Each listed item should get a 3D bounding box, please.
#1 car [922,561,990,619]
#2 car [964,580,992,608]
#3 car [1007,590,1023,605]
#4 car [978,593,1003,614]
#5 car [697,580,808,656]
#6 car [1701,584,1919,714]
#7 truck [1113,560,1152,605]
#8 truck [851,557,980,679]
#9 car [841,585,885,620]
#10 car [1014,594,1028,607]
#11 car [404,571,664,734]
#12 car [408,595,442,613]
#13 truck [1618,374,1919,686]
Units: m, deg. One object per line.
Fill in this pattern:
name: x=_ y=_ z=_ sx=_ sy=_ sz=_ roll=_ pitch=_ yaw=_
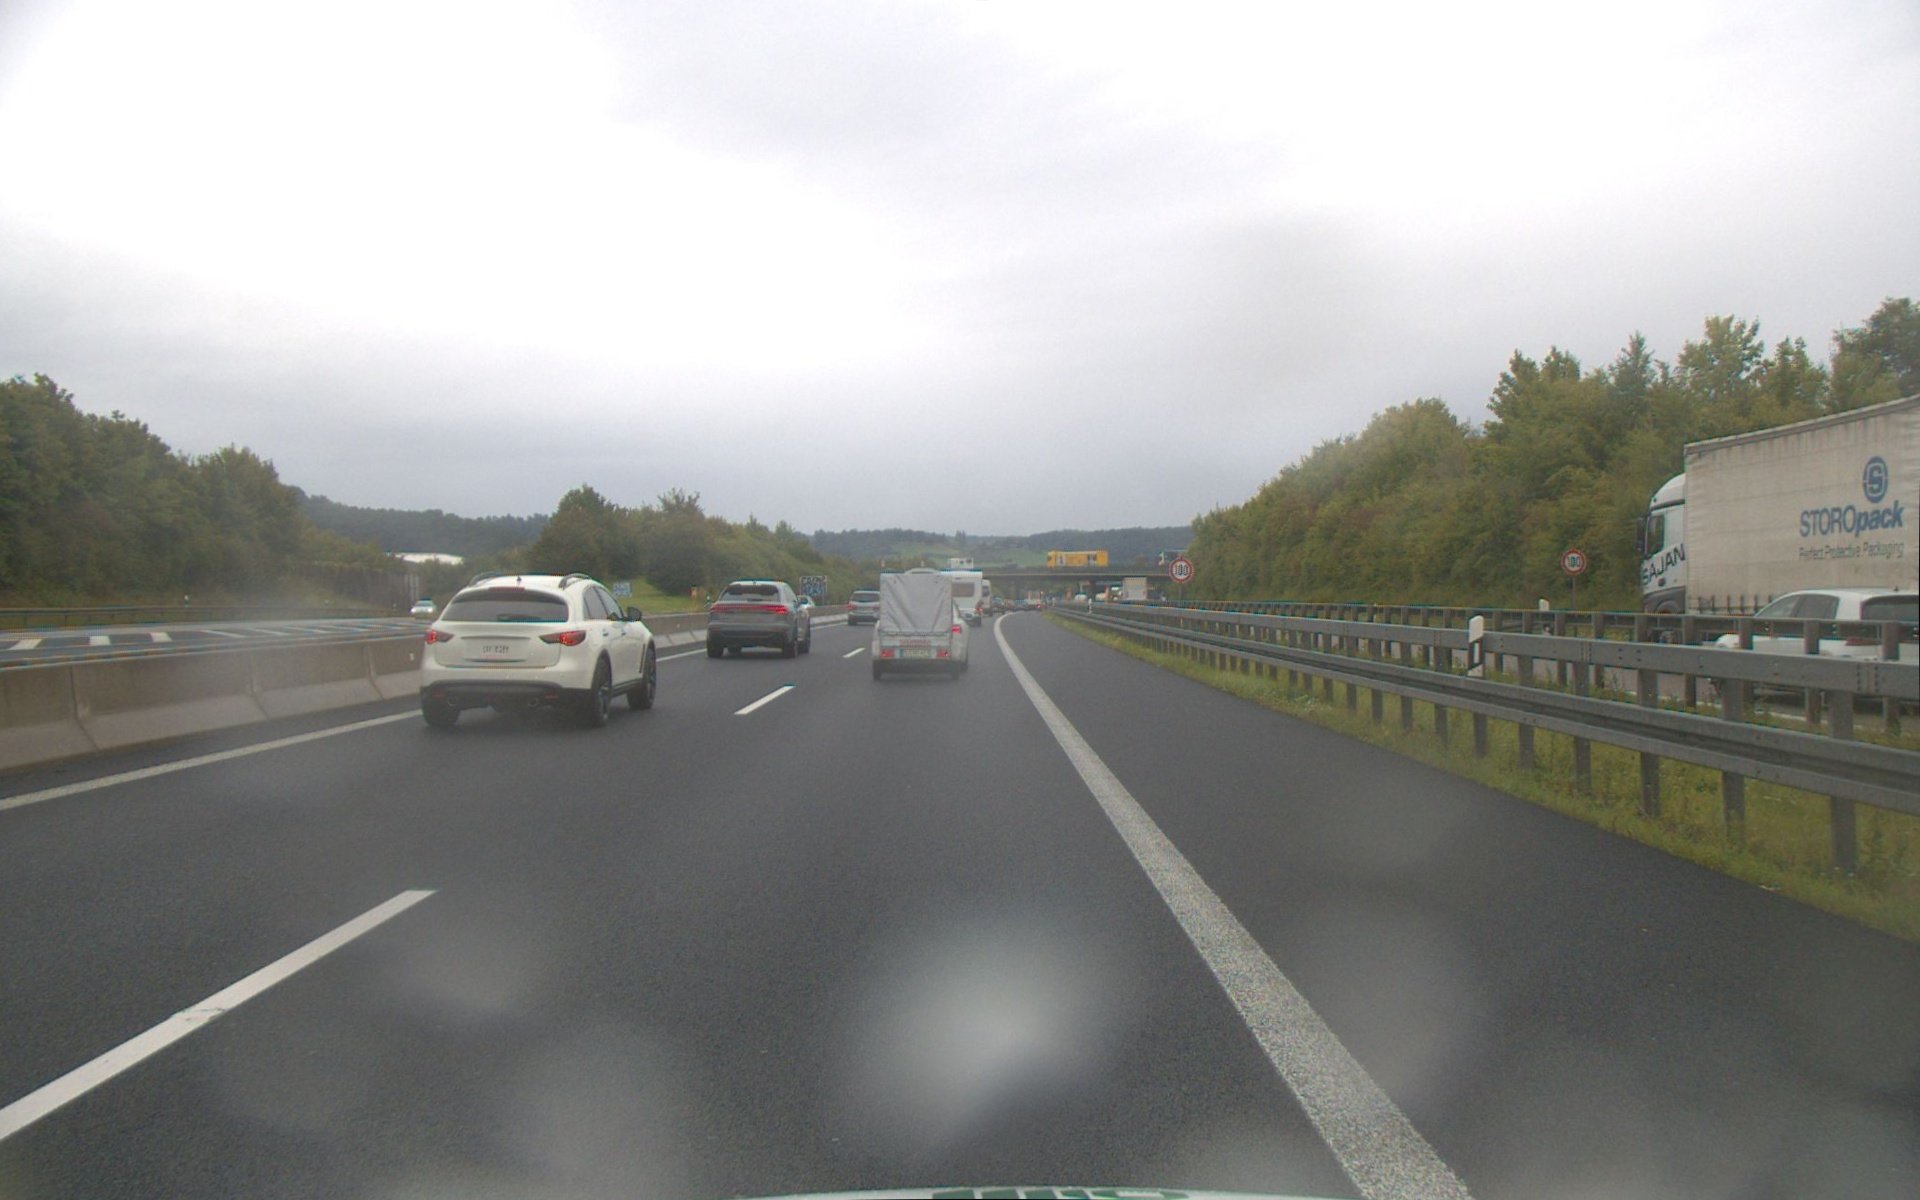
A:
car: x=-0.121 y=-0.489 z=79.955 sx=2.953 sy=2.662 sz=6.077 roll=0 pitch=0 yaw=3
car: x=1.334 y=-0.441 z=123.562 sx=1.953 sy=2.071 sz=4.150 roll=1 pitch=0 yaw=-1
car: x=6.710 y=-0.324 z=201.419 sx=1.952 sy=1.780 sz=4.001 roll=1 pitch=0 yaw=2
car: x=2.664 y=0.305 z=145.054 sx=1.953 sy=1.780 sz=3.999 roll=1 pitch=0 yaw=-1
car: x=-4.768 y=0.385 z=38.605 sx=2.130 sy=1.660 sz=4.499 roll=0 pitch=0 yaw=-1
car: x=11.172 y=0.548 z=20.745 sx=1.822 sy=1.472 sz=4.156 roll=0 pitch=0 yaw=-1
truck: x=20.404 y=-2.087 z=195.892 sx=4.008 sy=5.193 sz=10.467 roll=0 pitch=0 yaw=2
truck: x=-0.702 y=0.273 z=31.178 sx=1.977 sy=2.020 sz=7.215 roll=0 pitch=0 yaw=2
car: x=-4.591 y=0.114 z=78.535 sx=1.861 sy=1.641 sz=4.017 roll=0 pitch=0 yaw=0
car: x=8.646 y=0.086 z=234.058 sx=1.952 sy=1.780 sz=4.002 roll=1 pitch=0 yaw=3
car: x=-4.764 y=0.536 z=19.195 sx=1.936 sy=1.668 sz=4.499 roll=0 pitch=0 yaw=-1
car: x=-46.196 y=0.337 z=142.844 sx=2.139 sy=1.455 sz=4.379 roll=0 pitch=0 yaw=-9
truck: x=15.040 y=-1.016 z=28.274 sx=3.367 sy=4.364 sz=10.417 roll=0 pitch=0 yaw=-1
